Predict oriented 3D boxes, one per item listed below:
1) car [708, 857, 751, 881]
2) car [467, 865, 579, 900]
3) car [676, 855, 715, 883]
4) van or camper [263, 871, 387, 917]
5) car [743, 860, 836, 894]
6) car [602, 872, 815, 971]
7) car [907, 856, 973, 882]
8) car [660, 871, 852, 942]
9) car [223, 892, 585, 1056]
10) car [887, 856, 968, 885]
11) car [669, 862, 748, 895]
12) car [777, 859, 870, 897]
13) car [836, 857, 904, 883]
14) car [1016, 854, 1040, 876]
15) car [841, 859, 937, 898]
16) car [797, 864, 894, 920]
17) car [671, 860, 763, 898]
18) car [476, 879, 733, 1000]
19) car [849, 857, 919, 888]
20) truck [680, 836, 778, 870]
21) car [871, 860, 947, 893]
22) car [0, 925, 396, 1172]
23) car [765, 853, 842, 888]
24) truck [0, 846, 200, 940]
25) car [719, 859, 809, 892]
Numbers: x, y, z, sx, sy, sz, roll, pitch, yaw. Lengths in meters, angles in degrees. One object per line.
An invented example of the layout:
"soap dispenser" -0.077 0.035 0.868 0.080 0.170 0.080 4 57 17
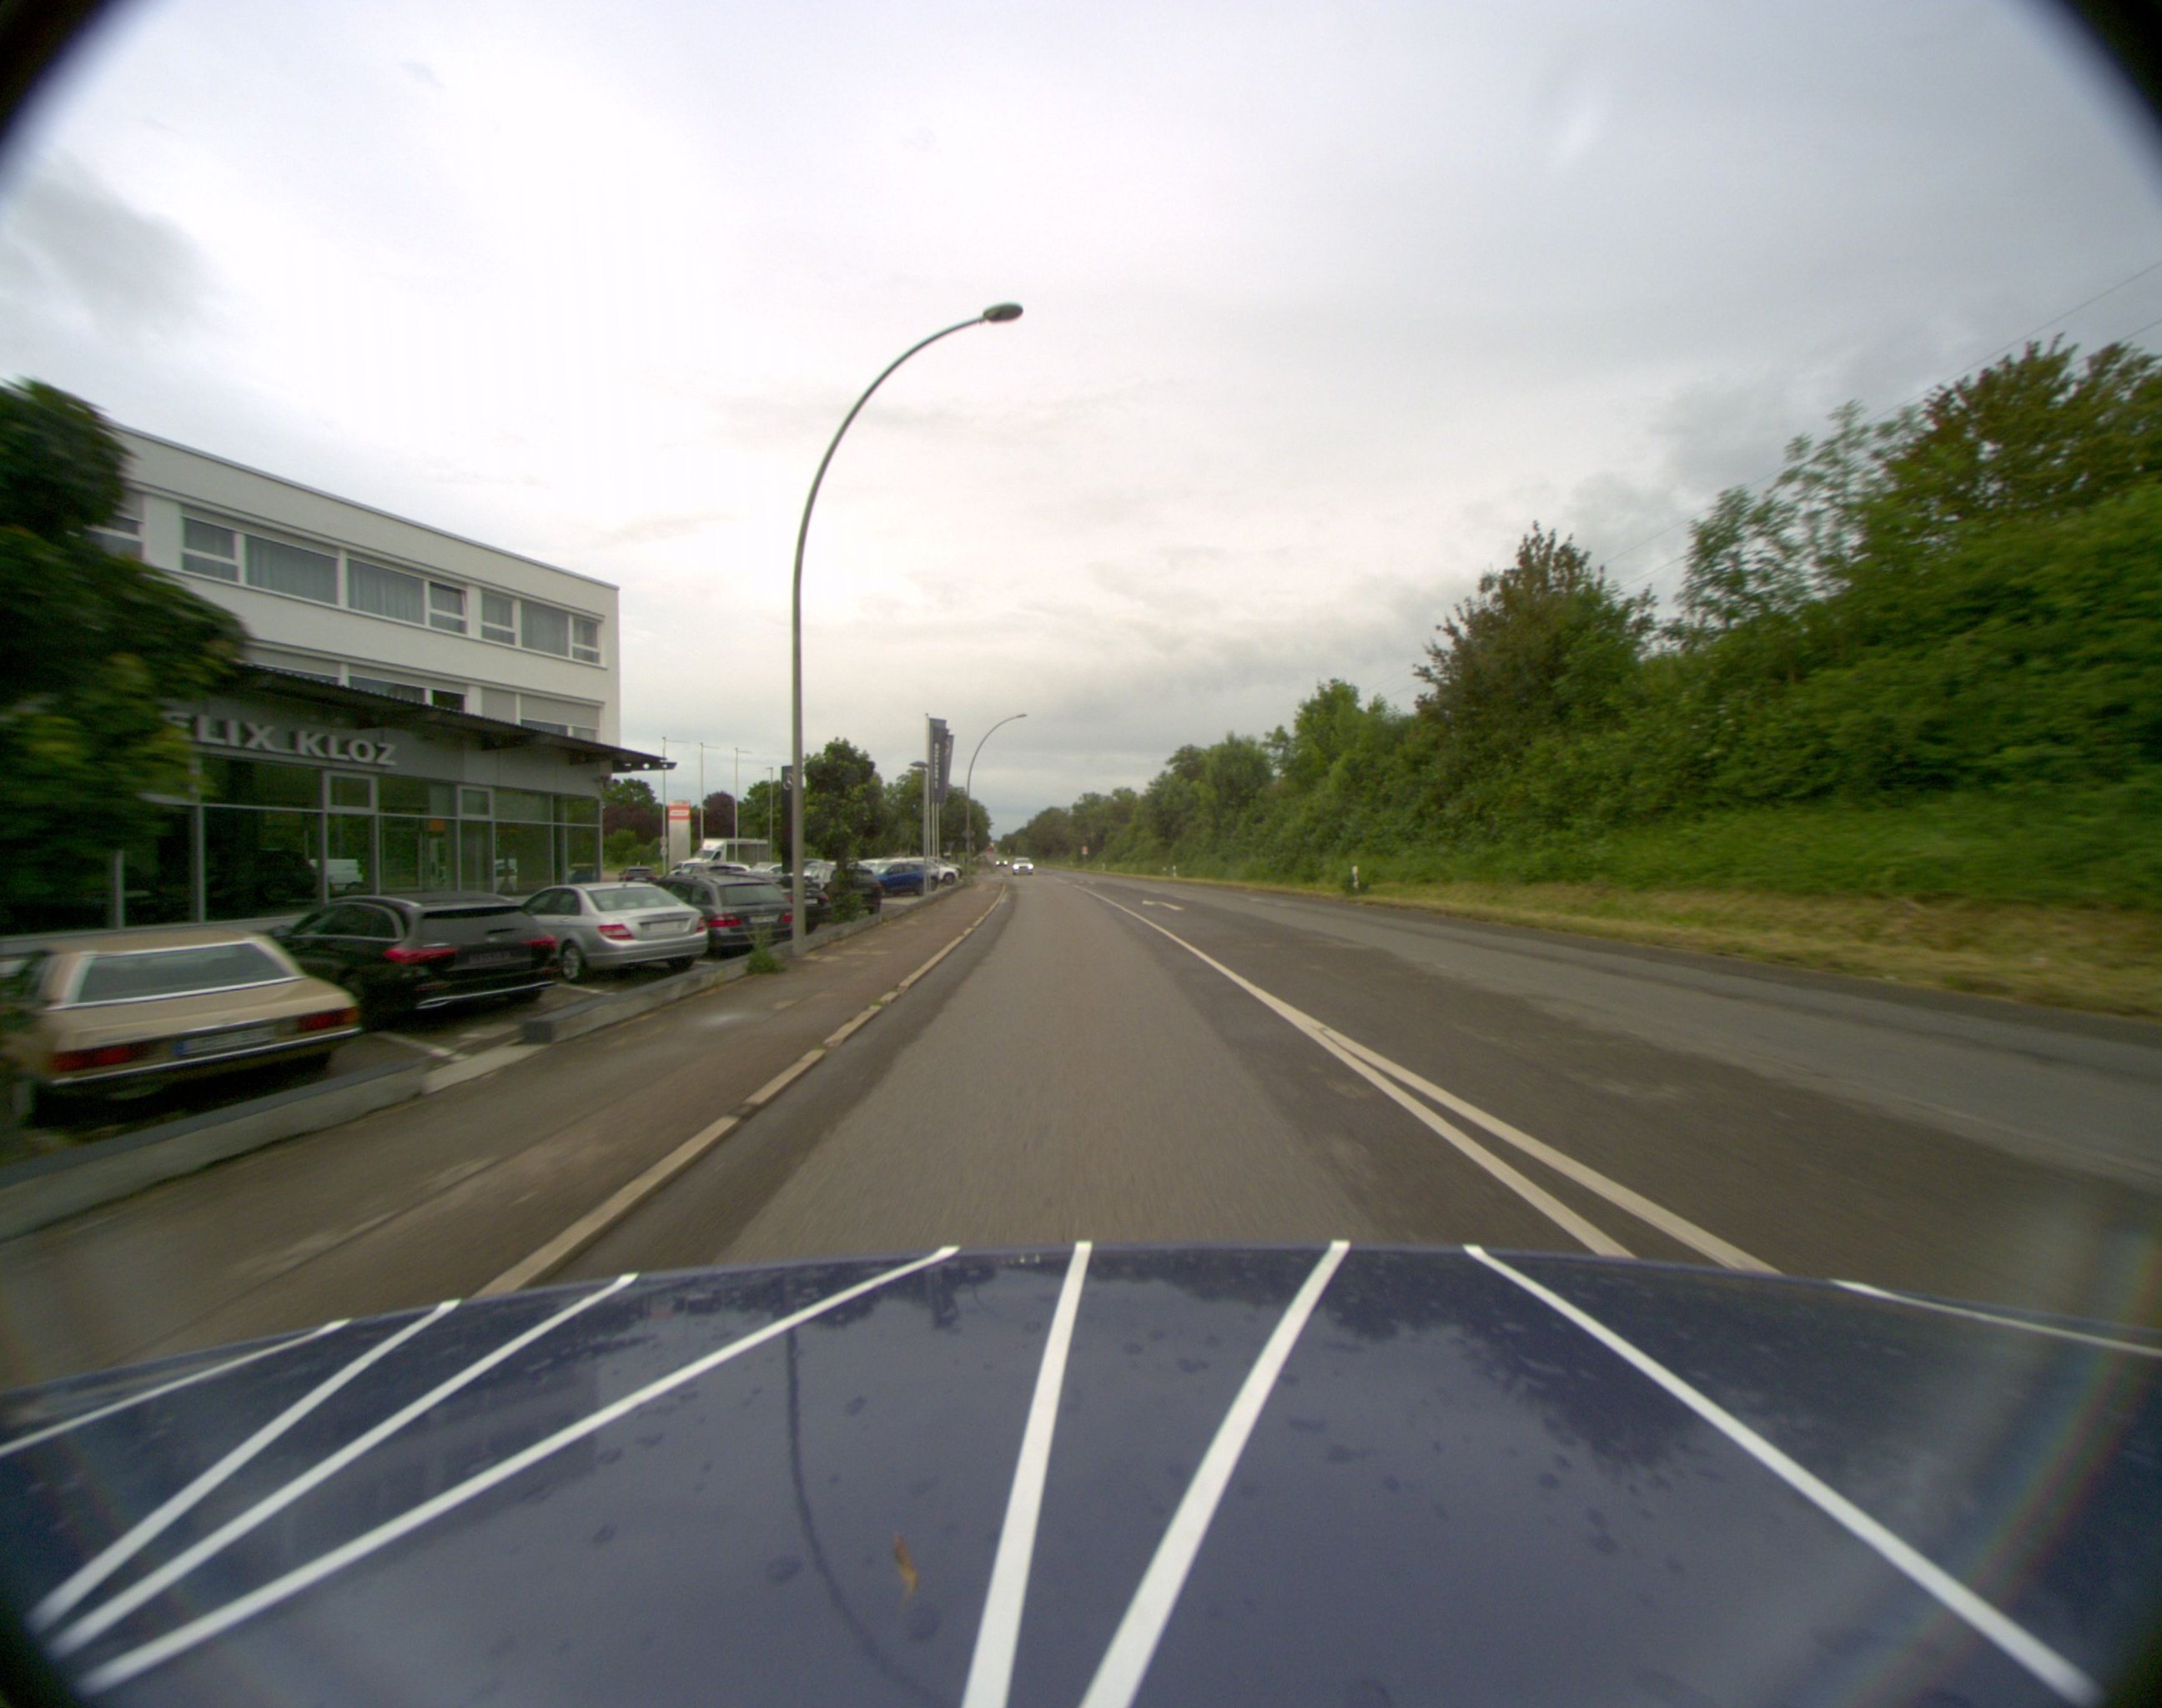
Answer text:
"car" -22.309 0.948 48.135 1.775 1.451 3.990 0 -1 -35
"car" -23.766 1.171 32.332 4.400 1.433 2.004 0 -1 26
"car" -22.488 0.870 44.288 1.775 1.542 3.442 0 -1 -31
"van or camper" -38.129 1.968 38.454 1.804 2.028 4.006 -1 1 22
"car" -14.467 1.116 37.910 1.898 1.536 4.008 -1 0 30
"car" -7.261 1.226 14.720 3.989 1.547 1.902 -2 2 35
"car" -10.015 1.028 54.141 1.961 1.661 4.373 -1 1 37
"car" -7.830 1.180 18.255 4.431 1.470 1.938 -1 0 30
"car" -8.391 1.328 9.414 3.959 1.483 1.979 -3 2 27
"car" -9.326 0.951 46.422 4.436 1.643 1.922 -1 1 -40
"car" -17.623 1.127 35.925 3.552 1.469 1.784 0 0 33
"car" -12.197 1.088 36.226 1.727 1.590 4.187 1 1 27
"car" -13.670 0.986 49.496 1.962 1.490 4.371 -1 1 23
"car" -5.332 1.077 76.436 1.998 2.002 3.999 -3 1 1
"car" -9.028 1.101 36.078 1.838 1.623 4.375 1 1 32
"car" -7.650 1.137 24.384 1.845 1.598 4.538 0 -1 -32
"car" -19.419 1.324 40.702 1.767 1.632 3.993 -2 3 31
"car" -7.729 1.235 12.237 4.162 1.459 1.840 1 2 32
"car" -10.898 0.988 42.177 1.659 1.590 3.566 1 1 32
"truck" -30.817 -0.197 67.058 2.783 2.608 8.483 -3 1 17
"car" -9.061 1.145 40.297 1.727 1.590 3.822 1 1 33
"car" -8.239 1.459 6.788 4.225 1.294 1.737 -1 3 28
"car" -16.411 0.937 45.055 1.674 1.711 4.006 -2 3 31
"truck" -41.626 1.548 31.091 2.565 3.395 6.658 -3 1 25
"car" -16.562 1.095 39.892 1.898 1.536 4.007 -1 0 29
